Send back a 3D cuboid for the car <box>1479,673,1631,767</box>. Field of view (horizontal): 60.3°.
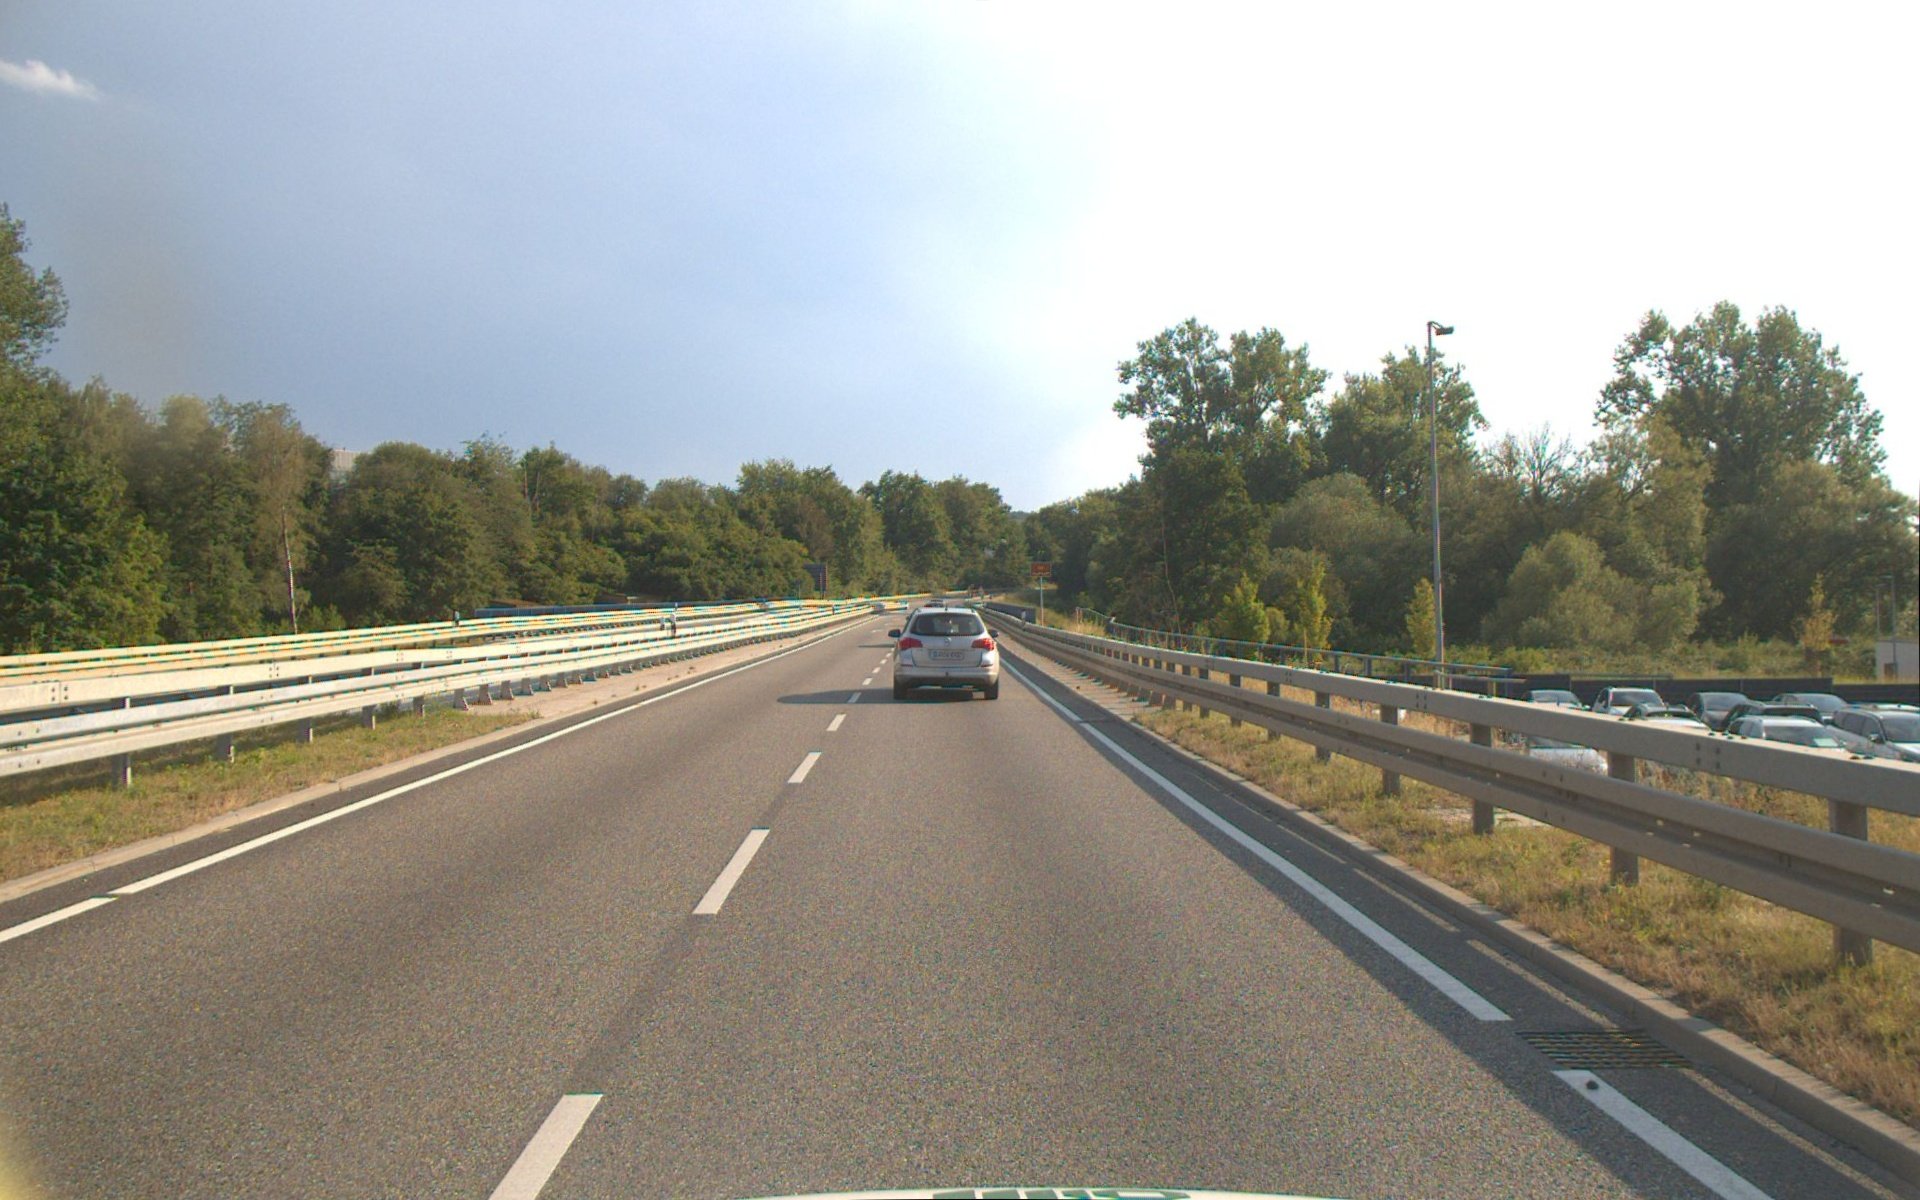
[{"bbox_3d":[12.438,2.474,34.838,1.738,1.713,3.999,1,-1,0],"label":"car"}]

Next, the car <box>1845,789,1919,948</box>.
[{"bbox_3d":[12.132,3.258,19.236,1.579,1.708,3.835,1,-1,-1],"label":"car"}]

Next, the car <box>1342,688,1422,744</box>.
[{"bbox_3d":[12.934,3.534,50.897,1.670,1.490,4.002,0,-1,4],"label":"car"}]

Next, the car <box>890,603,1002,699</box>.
[{"bbox_3d":[-0.268,0.827,28.386,1.772,1.512,3.999,1,-1,-1],"label":"car"}]

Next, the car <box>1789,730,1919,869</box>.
[{"bbox_3d":[14.464,2.978,25.077,1.739,1.713,3.999,1,-1,-1],"label":"car"}]

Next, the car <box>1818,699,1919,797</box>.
[{"bbox_3d":[19.653,3.023,34.385,1.738,1.713,4.002,0,-1,3],"label":"car"}]

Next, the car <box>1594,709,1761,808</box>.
[{"bbox_3d":[14.864,3.245,34.498,1.738,1.713,3.999,1,-1,0],"label":"car"}]

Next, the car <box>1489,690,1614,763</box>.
[{"bbox_3d":[14.241,3.020,40.037,1.671,1.490,4.000,1,-1,1],"label":"car"}]

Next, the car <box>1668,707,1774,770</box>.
[{"bbox_3d":[22.037,3.985,48.055,1.911,1.490,4.003,0,-1,11],"label":"car"}]

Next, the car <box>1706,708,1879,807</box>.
[{"bbox_3d":[17.312,3.234,34.594,1.738,1.713,4.001,1,-1,2],"label":"car"}]

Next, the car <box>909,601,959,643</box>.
[{"bbox_3d":[-0.990,0.812,61.521,1.772,1.512,3.999,1,-1,-1],"label":"car"}]

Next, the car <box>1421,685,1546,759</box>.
[{"bbox_3d":[12.408,2.874,39.453,1.671,1.490,3.999,1,-1,-1],"label":"car"}]

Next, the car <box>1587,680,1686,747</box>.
[{"bbox_3d":[19.894,3.304,48.787,1.911,1.671,4.247,0,-1,11],"label":"car"}]

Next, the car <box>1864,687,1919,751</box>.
[{"bbox_3d":[26.782,3.287,45.938,1.768,1.529,4.003,0,-1,11],"label":"car"}]
